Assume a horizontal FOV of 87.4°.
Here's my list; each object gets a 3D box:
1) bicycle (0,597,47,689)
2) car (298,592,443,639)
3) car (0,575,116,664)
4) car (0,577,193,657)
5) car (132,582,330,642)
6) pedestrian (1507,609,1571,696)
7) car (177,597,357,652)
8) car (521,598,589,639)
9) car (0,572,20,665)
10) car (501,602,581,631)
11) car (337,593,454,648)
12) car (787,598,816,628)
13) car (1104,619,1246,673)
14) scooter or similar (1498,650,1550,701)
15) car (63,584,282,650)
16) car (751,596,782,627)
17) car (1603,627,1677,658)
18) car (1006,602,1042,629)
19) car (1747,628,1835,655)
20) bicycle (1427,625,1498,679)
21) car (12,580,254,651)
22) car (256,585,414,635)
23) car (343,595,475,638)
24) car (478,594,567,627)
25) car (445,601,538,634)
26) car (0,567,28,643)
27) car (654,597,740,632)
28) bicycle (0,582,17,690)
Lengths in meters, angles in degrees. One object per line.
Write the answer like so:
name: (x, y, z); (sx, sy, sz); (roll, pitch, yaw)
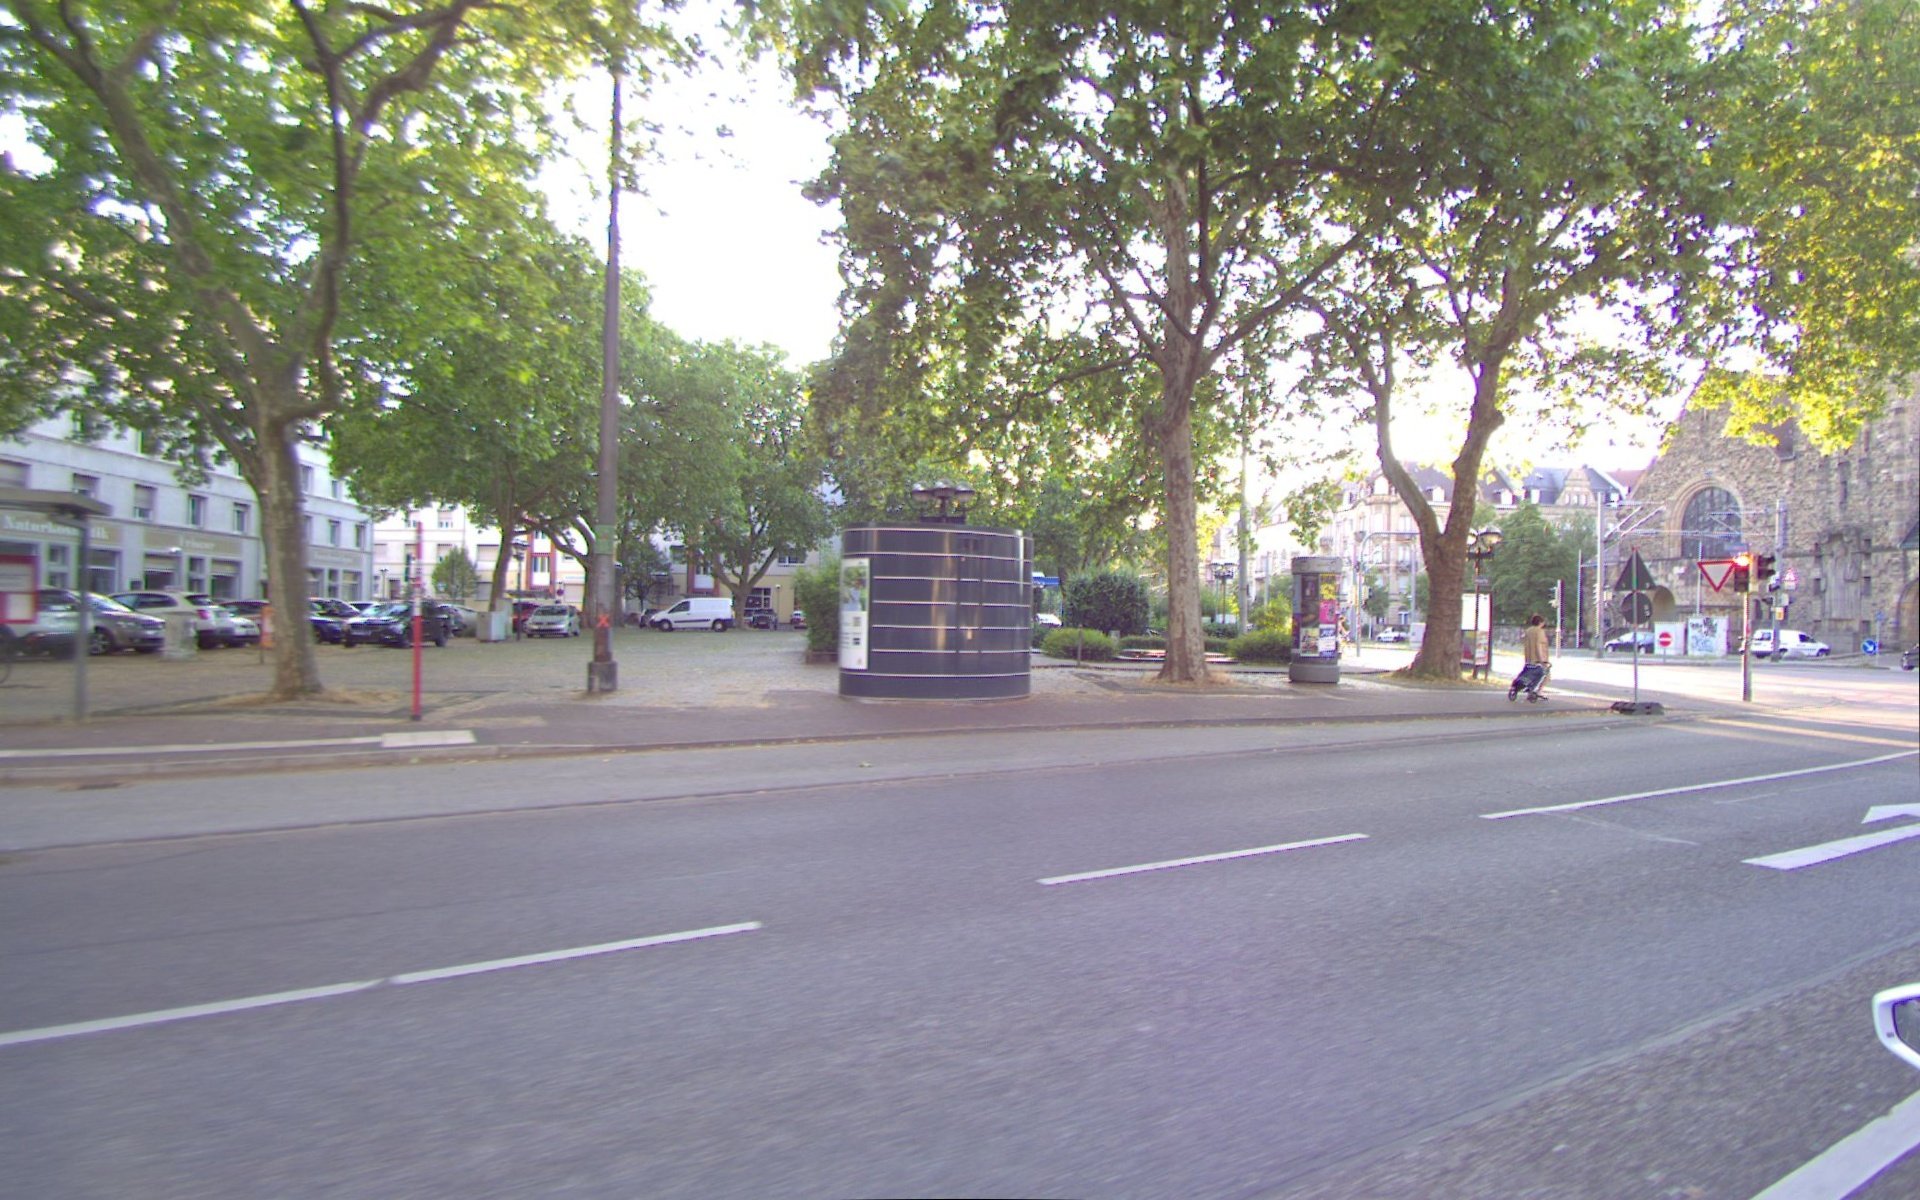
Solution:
bicycle: (-16.049, 0.618, 15.725); (2.693, 1.402, 0.691); (2, 0, -5)
car: (-23.459, 0.620, 40.163); (4.557, 1.805, 1.997); (0, -1, -10)
car: (-20.927, 0.432, 21.043); (4.557, 1.805, 1.997); (0, -1, -10)
car: (-21.305, 0.415, 23.781); (4.557, 1.805, 1.997); (0, -1, -10)
car: (-22.625, 0.376, 31.351); (4.557, 1.805, 1.997); (0, -1, -10)
pedestrian: (11.389, 1.026, 19.758); (0.766, 1.649, 0.796); (2, 0, -35)
car: (-23.285, 0.818, 33.933); (4.557, 1.758, 1.997); (0, -1, -10)
car: (-17.950, 0.782, 44.638); (1.642, 1.684, 3.760); (2, 0, -4)
car: (-20.794, 0.361, 18.611); (4.557, 1.805, 1.997); (0, -1, -10)
car: (-26.307, 1.039, 63.275); (4.572, 1.758, 1.990); (0, -2, -22)
car: (-17.395, 0.640, 31.156); (1.642, 1.549, 3.760); (2, -1, -4)
car: (-11.430, 0.898, 72.582); (1.963, 2.040, 3.994); (2, 0, -8)
car: (7.566, 1.620, 35.685); (4.552, 1.805, 1.999); (0, -1, -5)
scooter or similar: (10.736, 1.418, 19.112); (0.845, 0.910, 0.586); (2, 0, -40)
car: (-22.579, 0.479, 28.995); (4.557, 1.805, 1.997); (0, -1, -10)
car: (-13.878, 0.798, 72.176); (1.963, 2.040, 3.994); (2, 0, -8)
car: (41.430, 2.576, 61.305); (1.960, 1.706, 4.002); (2, 0, 4)
car: (4.724, 1.101, 74.345); (1.882, 1.873, 3.995); (2, 0, -7)
car: (52.816, 2.627, 63.886); (4.372, 1.537, 1.718); (2, 0, -6)
bicycle: (13.142, 1.358, 26.254); (1.967, 1.344, 0.523); (2, 0, -26)
car: (-21.859, 0.415, 26.752); (4.557, 1.805, 1.997); (0, -1, -10)
car: (-23.270, 0.393, 37.575); (4.557, 1.805, 2.090); (0, -1, -10)
car: (-23.730, 0.724, 43.434); (4.557, 1.758, 1.997); (0, -1, -10)
car: (-25.335, 0.607, 58.388); (4.578, 1.834, 1.992); (0, -2, -20)
car: (-25.865, 0.984, 55.630); (4.572, 1.758, 1.990); (0, -2, -22)
car: (-33.653, 0.038, 32.593); (4.555, 2.474, 1.998); (3, -2, -7)
car: (-15.000, 0.847, 57.494); (4.557, 1.964, 1.997); (0, -1, -10)
bicycle: (-15.800, 0.495, 14.871); (2.693, 1.636, 0.809); (2, 0, -5)
